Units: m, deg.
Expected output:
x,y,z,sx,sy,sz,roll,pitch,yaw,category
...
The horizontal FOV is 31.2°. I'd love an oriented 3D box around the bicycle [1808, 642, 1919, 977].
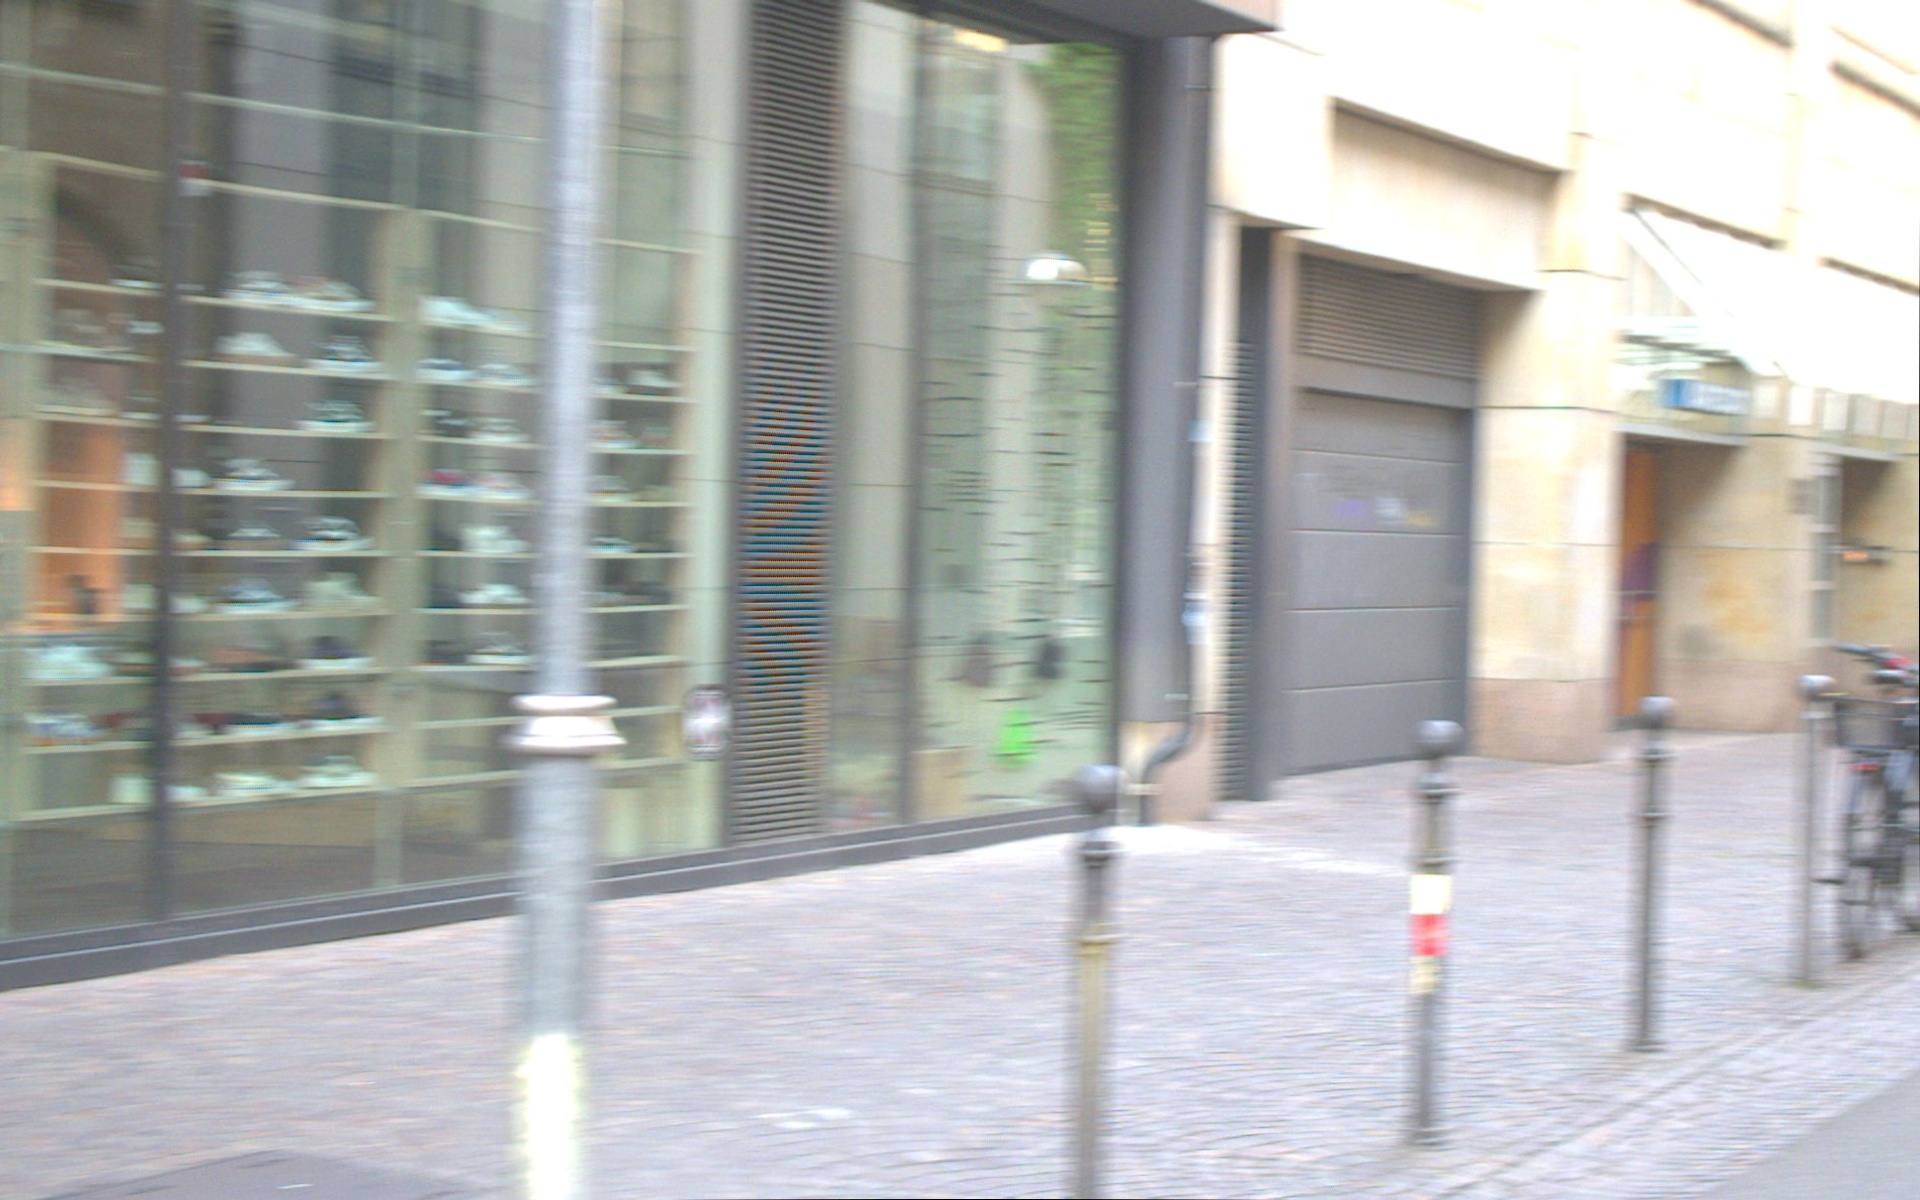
x,y,z,sx,sy,sz,roll,pitch,yaw,category
3.663,0.756,13.149,0.411,1.128,1.928,2,2,25,bicycle
